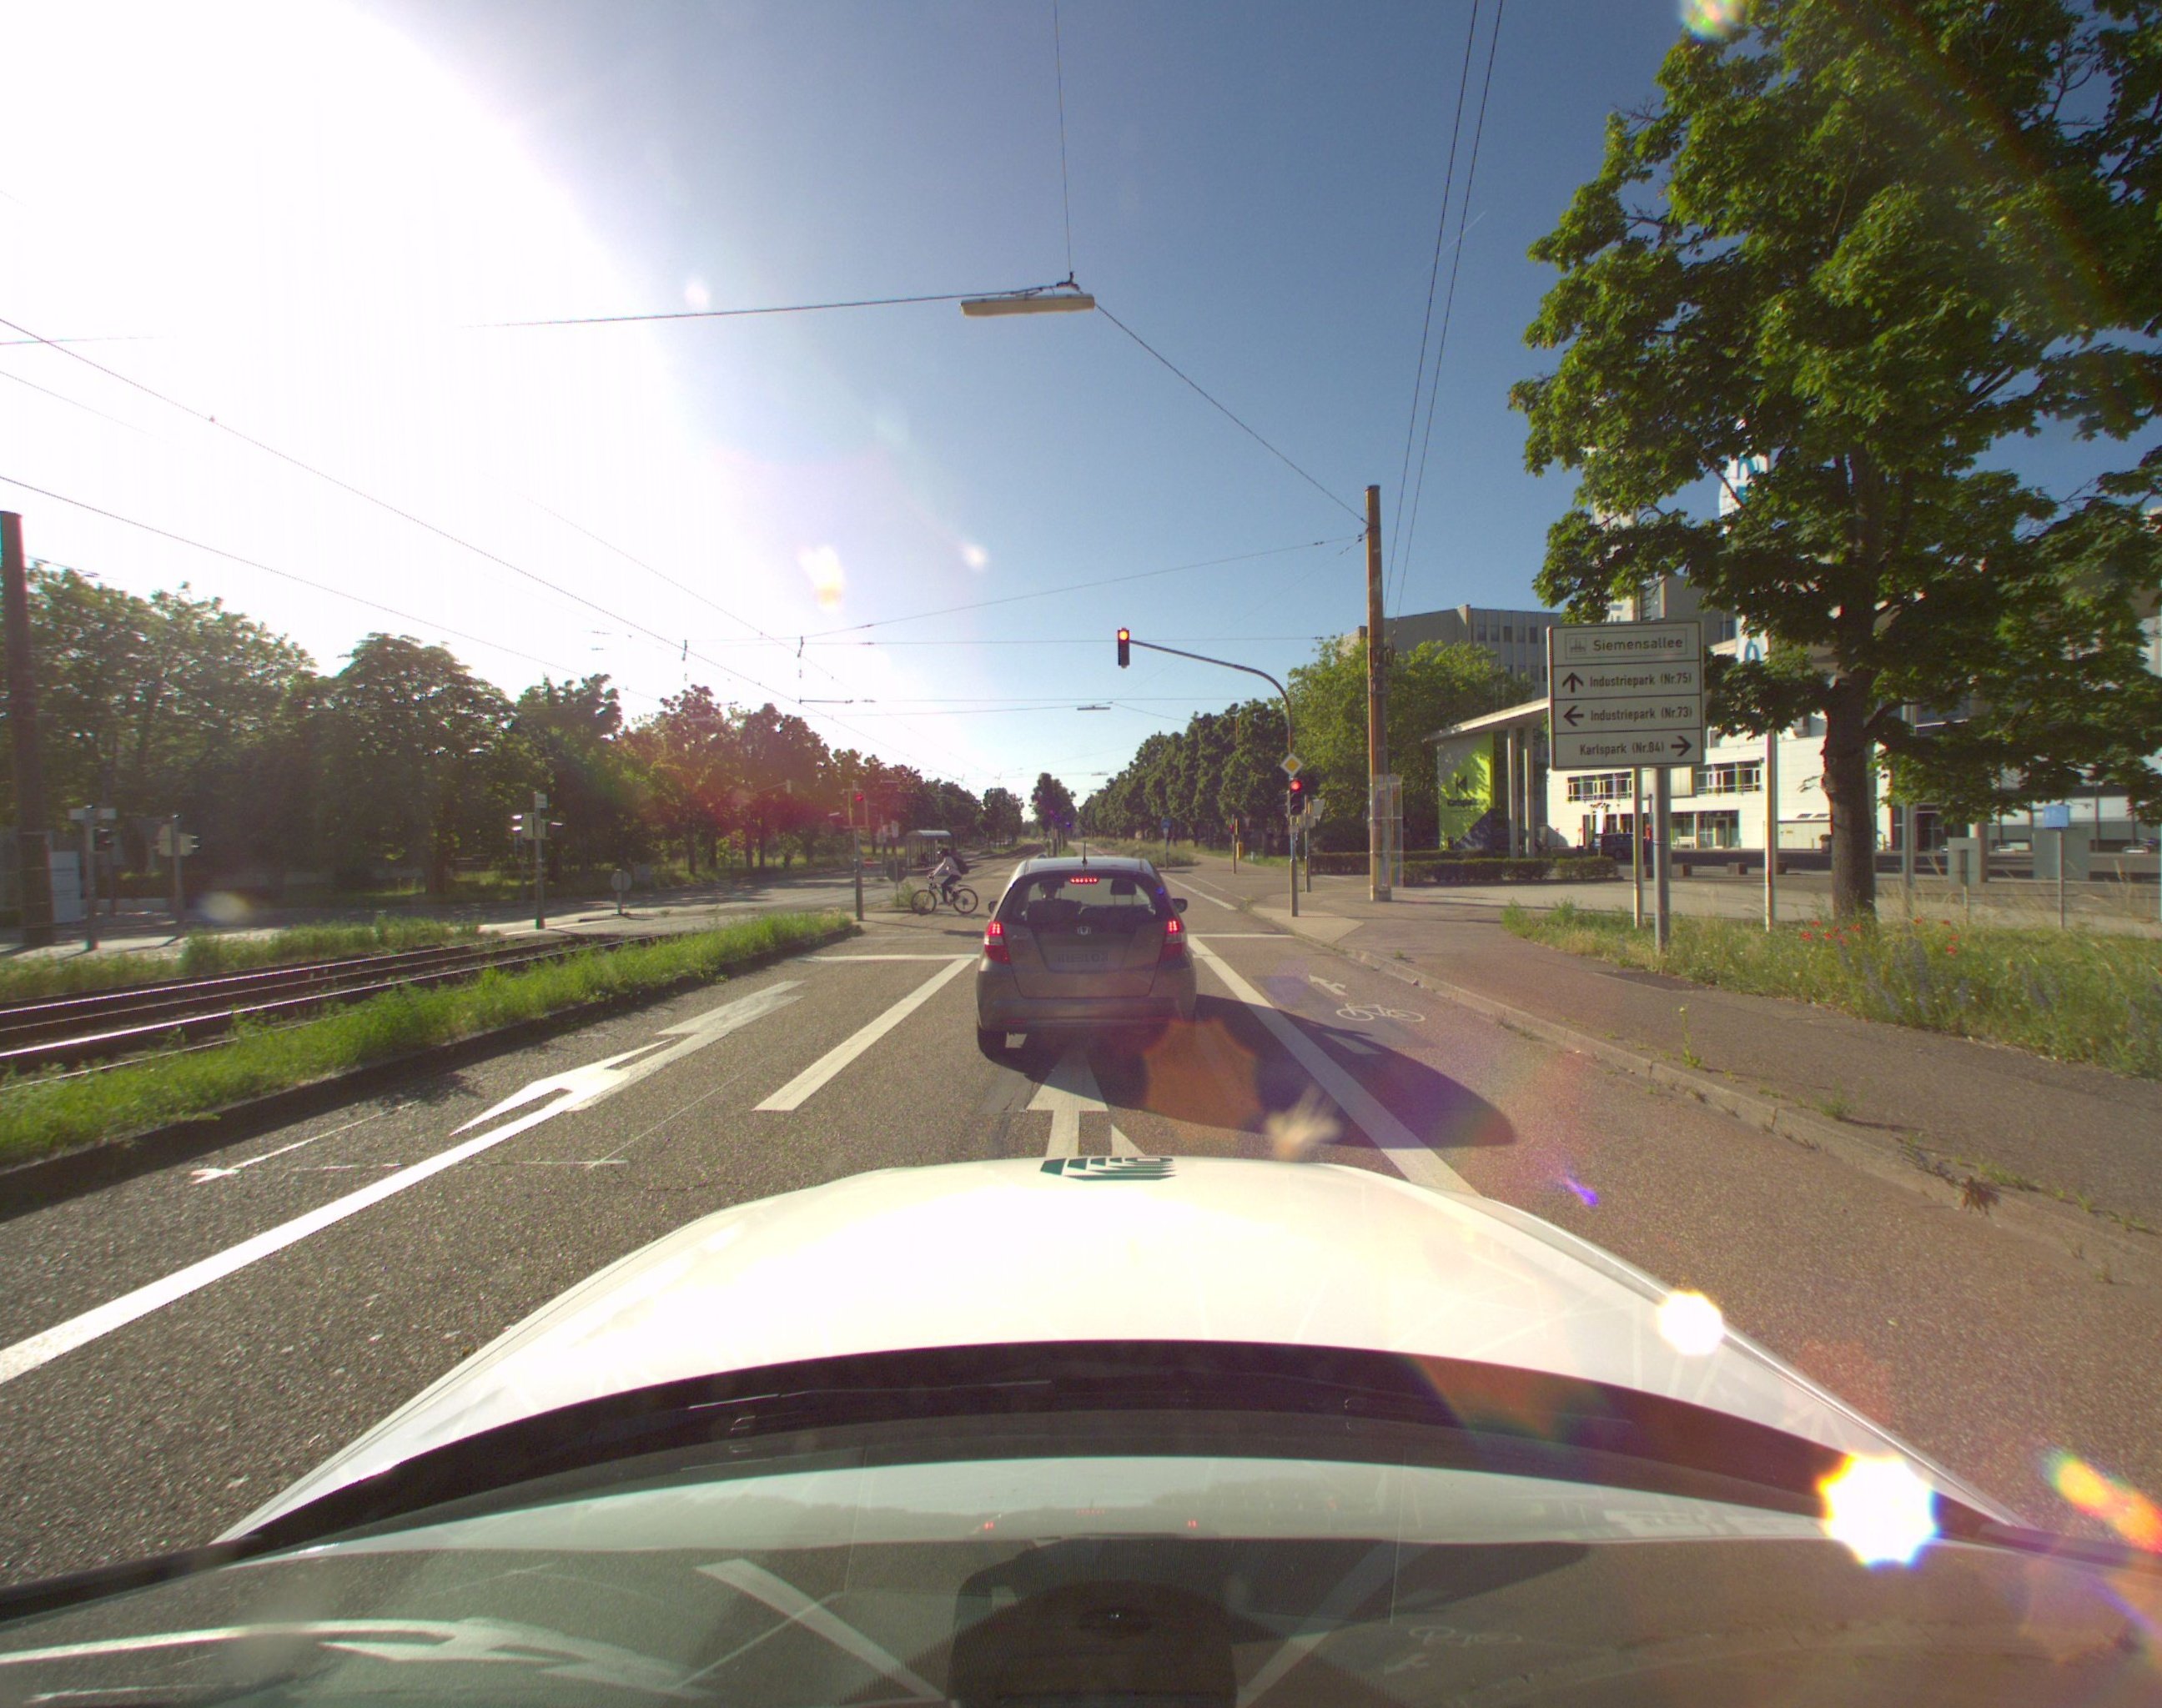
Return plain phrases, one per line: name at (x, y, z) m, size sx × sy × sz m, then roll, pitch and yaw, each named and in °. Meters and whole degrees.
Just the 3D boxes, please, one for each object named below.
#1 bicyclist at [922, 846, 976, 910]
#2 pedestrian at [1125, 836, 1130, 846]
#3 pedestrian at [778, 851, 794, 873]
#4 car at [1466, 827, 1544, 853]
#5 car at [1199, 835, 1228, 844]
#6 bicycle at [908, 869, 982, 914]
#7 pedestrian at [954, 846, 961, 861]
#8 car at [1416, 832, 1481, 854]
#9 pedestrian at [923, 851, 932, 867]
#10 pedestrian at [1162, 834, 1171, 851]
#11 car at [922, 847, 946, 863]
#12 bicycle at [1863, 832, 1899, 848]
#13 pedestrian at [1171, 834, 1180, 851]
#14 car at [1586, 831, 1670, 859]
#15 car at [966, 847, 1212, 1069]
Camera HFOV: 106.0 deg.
bicyclist at (-3.389, 0.609, 20.975) m, size 1.228 × 1.593 × 0.805 m, roll -1°, pitch 0°, yaw 0°
pedestrian at (7.985, -2.299, 140.641) m, size 0.723 × 1.690 × 0.820 m, roll -1°, pitch -1°, yaw -1°
pedestrian at (-24.199, 0.672, 66.753) m, size 0.751 × 1.734 × 0.943 m, roll -1°, pitch 1°, yaw 30°
car at (31.111, -1.044, 59.778) m, size 4.888 × 1.757 × 2.082 m, roll -2°, pitch 1°, yaw -14°
car at (23.482, -2.546, 144.262) m, size 4.623 × 1.555 × 1.997 m, roll -2°, pitch 1°, yaw -5°
bicycle at (-3.484, 0.964, 20.989) m, size 1.769 × 1.102 × 0.699 m, roll -1°, pitch 0°, yaw 0°
pedestrian at (-12.263, -0.045, 80.583) m, size 0.542 × 1.447 × 0.559 m, roll -2°, pitch 0°, yaw 1°
car at (30.049, -0.920, 66.670) m, size 4.448 × 1.686 × 1.892 m, roll -2°, pitch 1°, yaw -4°
pedestrian at (-12.441, 0.382, 66.014) m, size 0.562 × 1.257 × 0.581 m, roll -4°, pitch 0°, yaw 1°
pedestrian at (9.820, -1.285, 93.488) m, size 0.880 × 1.884 × 0.875 m, roll -2°, pitch 1°, yaw -2°
car at (-18.198, 0.084, 101.014) m, size 2.087 × 1.810 × 4.792 m, roll -3°, pitch 1°, yaw 0°
bicycle at (52.274, -0.893, 53.250) m, size 0.565 × 1.004 × 1.614 m, roll -2°, pitch 1°, yaw -13°
pedestrian at (10.860, -1.296, 93.474) m, size 0.880 × 1.884 × 0.875 m, roll -2°, pitch 1°, yaw -2°
car at (33.324, -0.563, 49.648) m, size 3.984 × 1.578 × 1.949 m, roll -1°, pitch 0°, yaw -8°
car at (0.113, 0.731, 7.531) m, size 1.694 × 1.524 × 3.711 m, roll -1°, pitch 0°, yaw 2°
